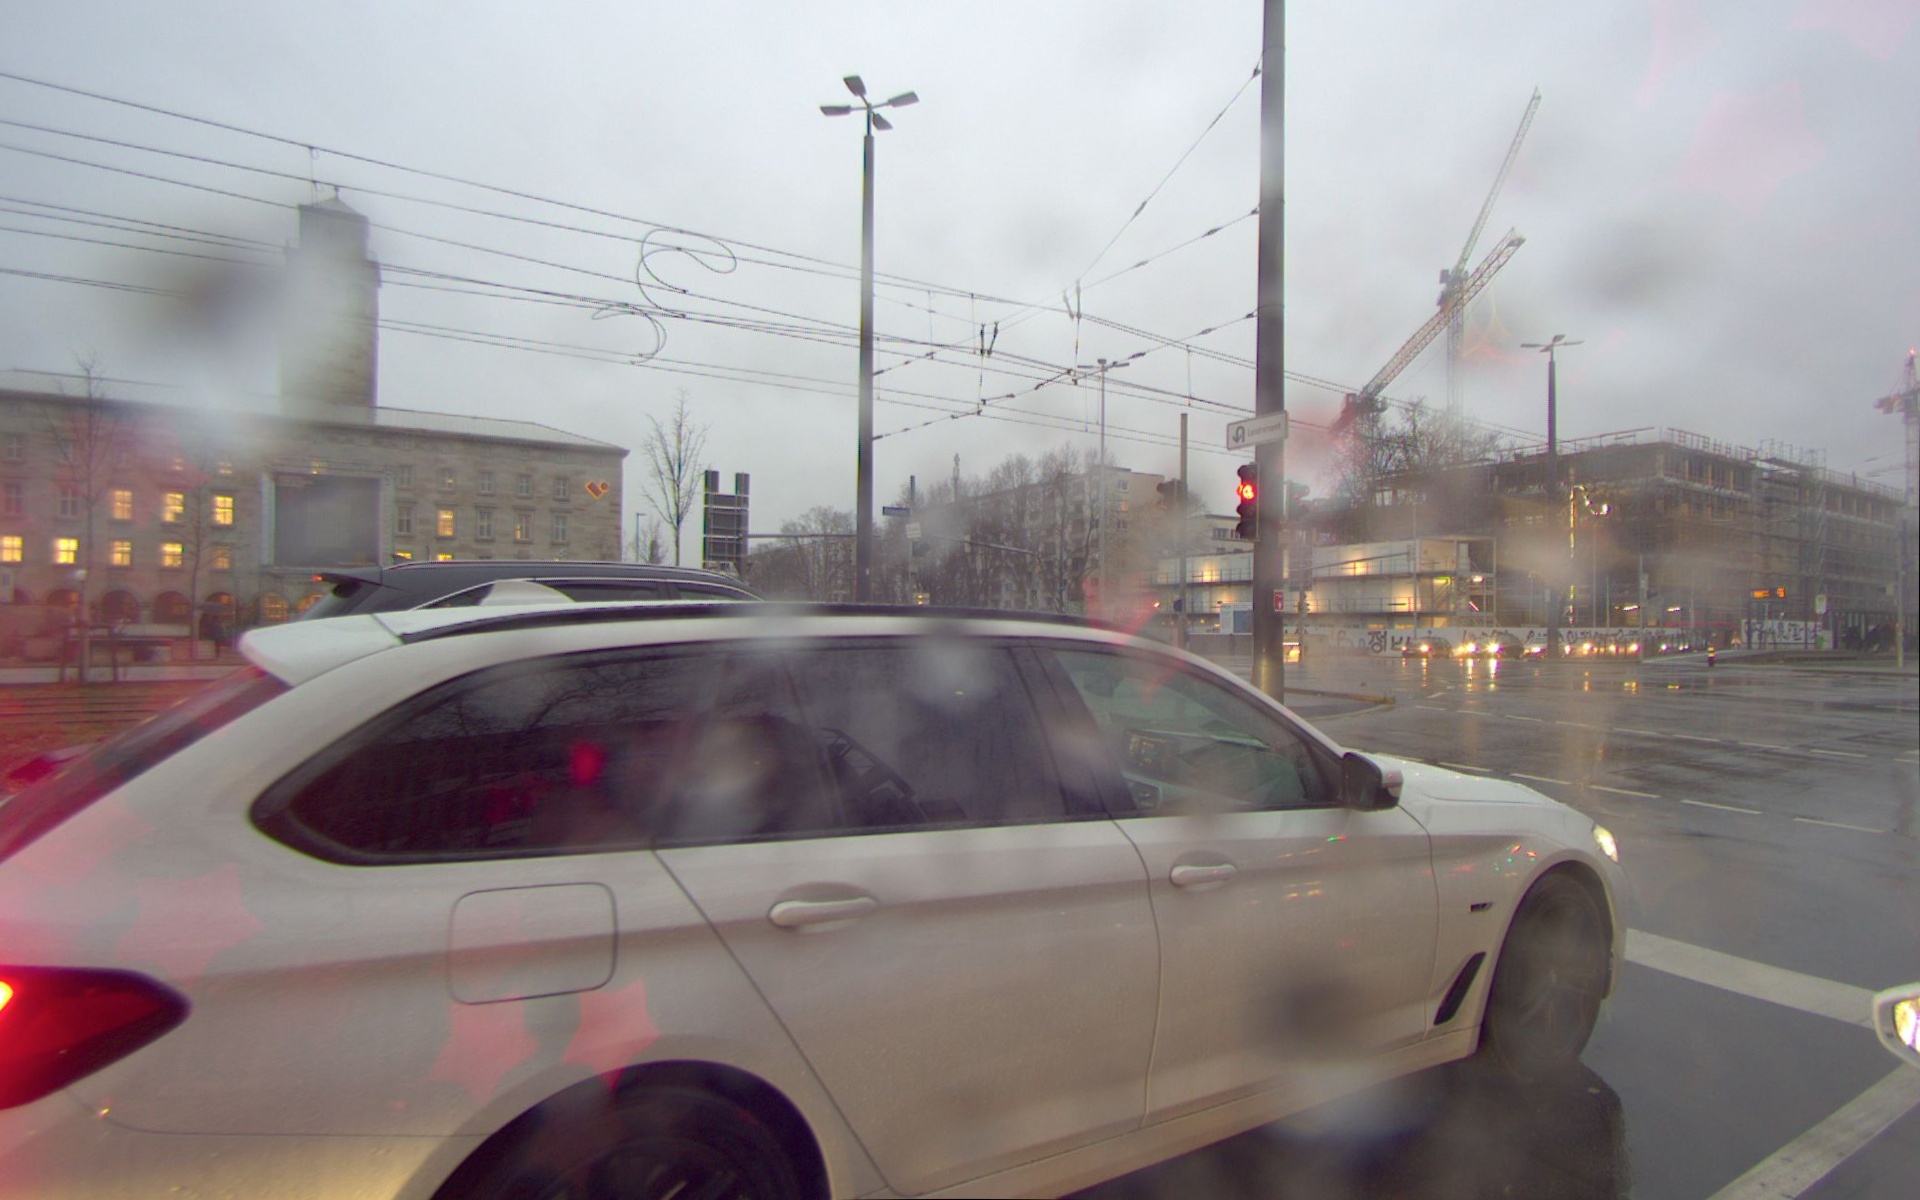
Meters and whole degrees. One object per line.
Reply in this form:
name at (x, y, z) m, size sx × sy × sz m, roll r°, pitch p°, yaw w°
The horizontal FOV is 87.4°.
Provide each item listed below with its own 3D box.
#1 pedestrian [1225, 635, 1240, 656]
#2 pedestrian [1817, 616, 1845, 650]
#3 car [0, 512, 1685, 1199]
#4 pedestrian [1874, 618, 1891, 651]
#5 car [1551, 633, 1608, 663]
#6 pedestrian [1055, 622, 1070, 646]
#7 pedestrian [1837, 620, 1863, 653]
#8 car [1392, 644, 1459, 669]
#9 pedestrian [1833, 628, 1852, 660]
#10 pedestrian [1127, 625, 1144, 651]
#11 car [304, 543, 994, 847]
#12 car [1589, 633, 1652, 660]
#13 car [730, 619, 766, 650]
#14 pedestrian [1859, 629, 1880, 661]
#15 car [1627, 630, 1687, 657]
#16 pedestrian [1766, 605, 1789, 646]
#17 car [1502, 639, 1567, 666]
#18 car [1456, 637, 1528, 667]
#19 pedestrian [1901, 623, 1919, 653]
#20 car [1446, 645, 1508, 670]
pedestrian at (18.584, 3.103, 68.558) m, size 0.715 × 1.407 × 0.725 m, roll 2°, pitch -2°, yaw -28°
pedestrian at (53.274, 1.997, 61.430) m, size 1.081 × 2.040 × 0.937 m, roll 2°, pitch 0°, yaw -30°
car at (0.060, 0.713, 3.151) m, size 4.508 × 1.506 × 2.007 m, roll 2°, pitch -2°, yaw -31°
pedestrian at (57.920, 2.170, 63.067) m, size 0.659 × 1.994 × 0.566 m, roll 2°, pitch 1°, yaw -36°
car at (41.076, 3.178, 66.578) m, size 3.963 × 1.852 × 1.852 m, roll 2°, pitch 0°, yaw -37°
pedestrian at (8.648, 2.838, 84.457) m, size 0.809 × 1.959 × 0.916 m, roll 2°, pitch 0°, yaw -36°
pedestrian at (55.477, 2.269, 62.625) m, size 1.082 × 2.040 × 0.937 m, roll 2°, pitch 0°, yaw -32°
car at (29.430, 3.556, 63.494) m, size 3.953 × 1.550 × 1.984 m, roll 2°, pitch -2°, yaw -30°
pedestrian at (54.366, 2.724, 61.879) m, size 0.547 × 1.906 × 0.695 m, roll 2°, pitch 0°, yaw -30°
pedestrian at (13.549, 2.906, 77.538) m, size 0.809 × 1.959 × 0.916 m, roll 2°, pitch 0°, yaw -36°
car at (-2.075, 0.577, 7.229) m, size 4.238 × 1.605 × 1.958 m, roll 2°, pitch -1°, yaw -29°
car at (45.968, 3.238, 69.880) m, size 3.950 × 1.814 × 1.985 m, roll 2°, pitch 0°, yaw -28°
car at (-17.761, 2.843, 83.857) m, size 2.031 × 2.454 × 4.734 m, roll 1°, pitch -1°, yaw -24°
pedestrian at (56.895, 2.821, 62.843) m, size 0.754 × 1.922 × 0.761 m, roll 3°, pitch -1°, yaw -30°
car at (50.573, 3.175, 72.886) m, size 3.950 × 1.814 × 1.985 m, roll 2°, pitch 0°, yaw -28°
pedestrian at (47.185, 1.466, 57.980) m, size 0.754 × 2.354 × 0.761 m, roll 3°, pitch -1°, yaw -30°
car at (35.875, 3.255, 62.712) m, size 4.577 × 1.550 × 2.059 m, roll 2°, pitch -2°, yaw -40°
car at (31.272, 3.041, 59.072) m, size 3.953 × 1.679 × 1.984 m, roll 2°, pitch -2°, yaw -30°
pedestrian at (66.136, 2.627, 69.758) m, size 1.085 × 2.040 × 0.934 m, roll 2°, pitch 0°, yaw -39°
car at (34.813, 3.865, 67.623) m, size 3.953 × 1.550 × 1.984 m, roll 2°, pitch -2°, yaw -30°
